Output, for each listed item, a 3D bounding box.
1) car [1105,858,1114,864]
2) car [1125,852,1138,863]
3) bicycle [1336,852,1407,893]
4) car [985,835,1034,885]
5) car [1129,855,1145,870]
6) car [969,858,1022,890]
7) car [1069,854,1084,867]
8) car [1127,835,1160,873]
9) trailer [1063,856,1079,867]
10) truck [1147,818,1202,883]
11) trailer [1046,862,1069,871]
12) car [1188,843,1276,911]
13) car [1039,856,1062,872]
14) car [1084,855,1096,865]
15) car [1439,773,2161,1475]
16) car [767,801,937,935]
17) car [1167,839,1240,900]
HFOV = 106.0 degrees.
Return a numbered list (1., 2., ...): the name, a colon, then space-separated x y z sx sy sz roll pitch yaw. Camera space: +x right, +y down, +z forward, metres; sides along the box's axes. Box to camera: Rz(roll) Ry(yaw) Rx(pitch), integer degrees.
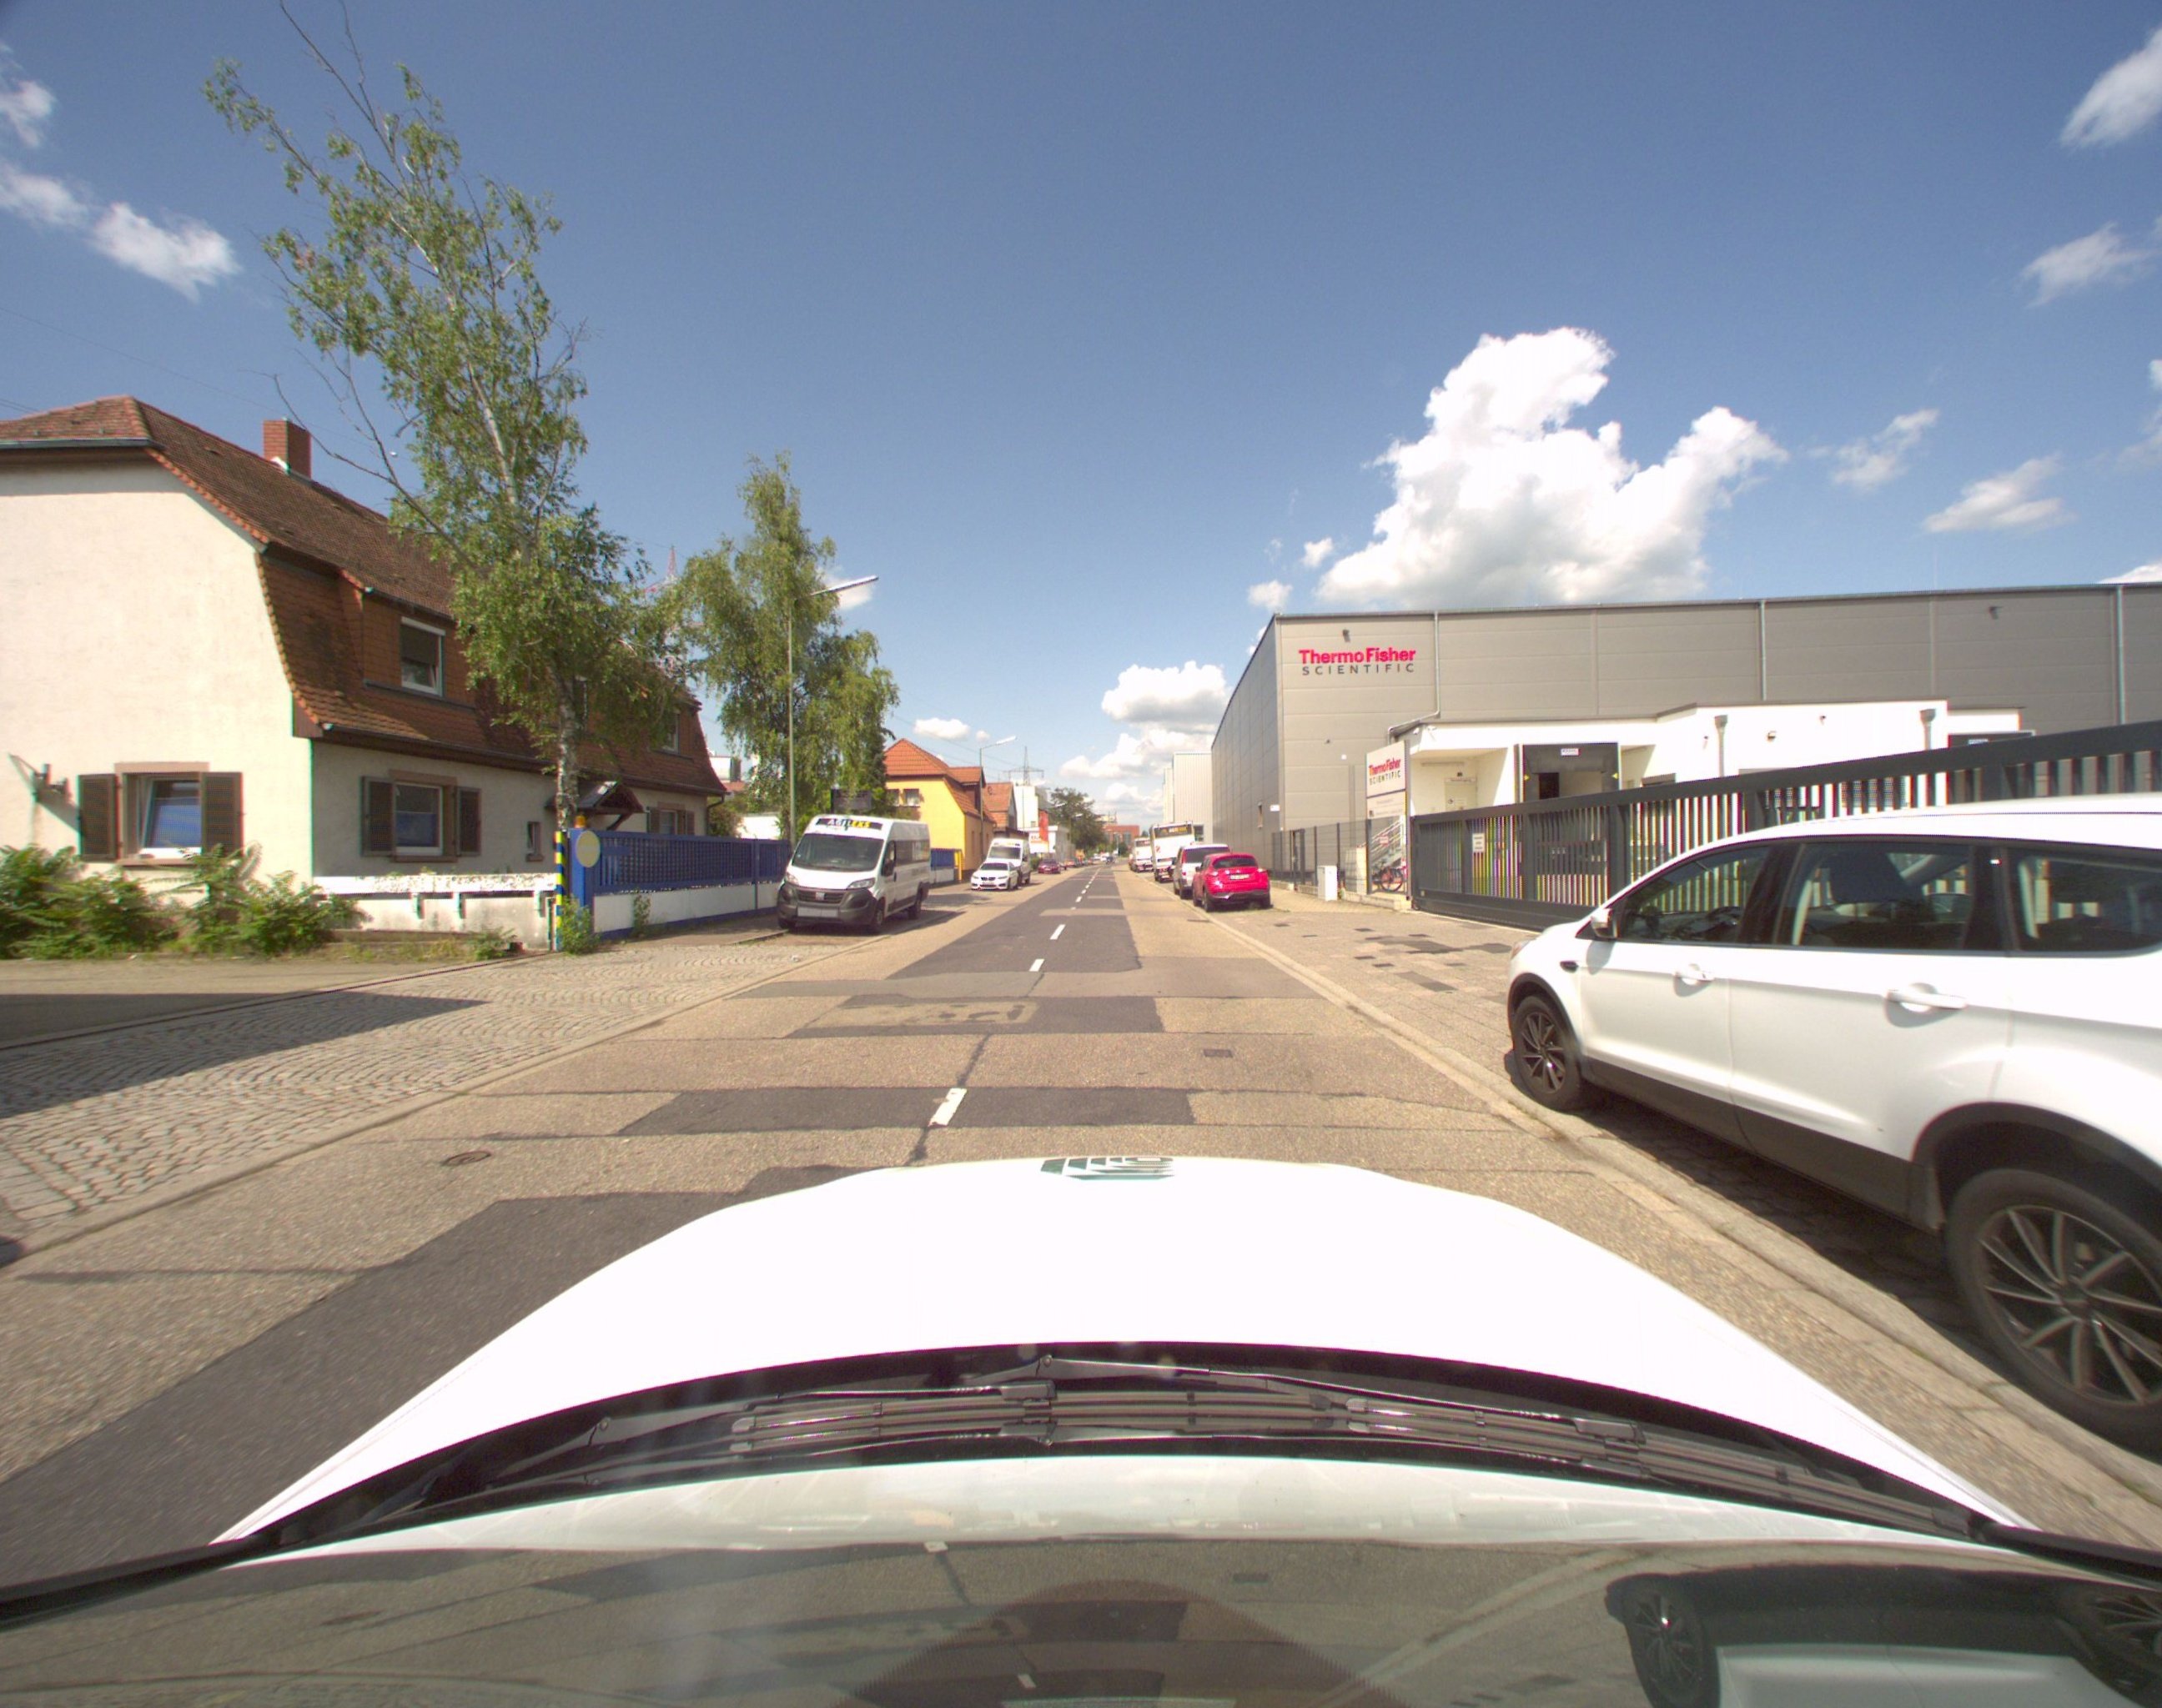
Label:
1. car: 6.053 1.425 174.947 1.911 1.285 3.616 -2 0 1
2. car: 8.261 0.639 132.927 1.931 1.742 4.382 -1 -1 4
3. bicycle: 8.831 0.560 24.791 1.941 1.143 0.458 -3 -1 4
4. car: -3.941 0.359 46.084 2.019 2.561 6.840 1 -1 1
5. car: 6.281 0.960 91.331 1.761 1.612 3.876 -1 -1 3
6. car: -4.003 0.924 38.945 1.788 1.397 4.505 1 -1 3
7. car: -0.733 1.041 133.156 1.984 2.014 4.005 1 -1 4
8. car: 5.977 0.035 78.932 2.381 3.363 6.642 -3 -1 -1
9. trailer: -1.425 1.056 117.725 1.986 1.557 4.255 0 0 2
10. truck: 5.353 -0.180 47.713 2.449 3.293 6.821 -6 -1 2
11. trailer: -2.785 1.475 96.578 2.353 0.893 5.571 1 -1 2
12. car: 4.184 0.614 23.147 1.698 1.624 4.093 -5 -1 1
13. car: -2.898 0.983 77.765 1.755 1.447 4.743 1 -1 2
14. car: 1.754 1.117 156.579 1.913 1.794 4.005 1 -1 4
15. car: 3.584 0.599 3.662 1.928 1.693 4.681 -3 0 2
16. car: -5.043 0.304 19.211 2.023 2.558 6.656 1 -1 0
17. car: 4.403 0.523 30.103 2.045 1.903 5.151 -4 0 3
